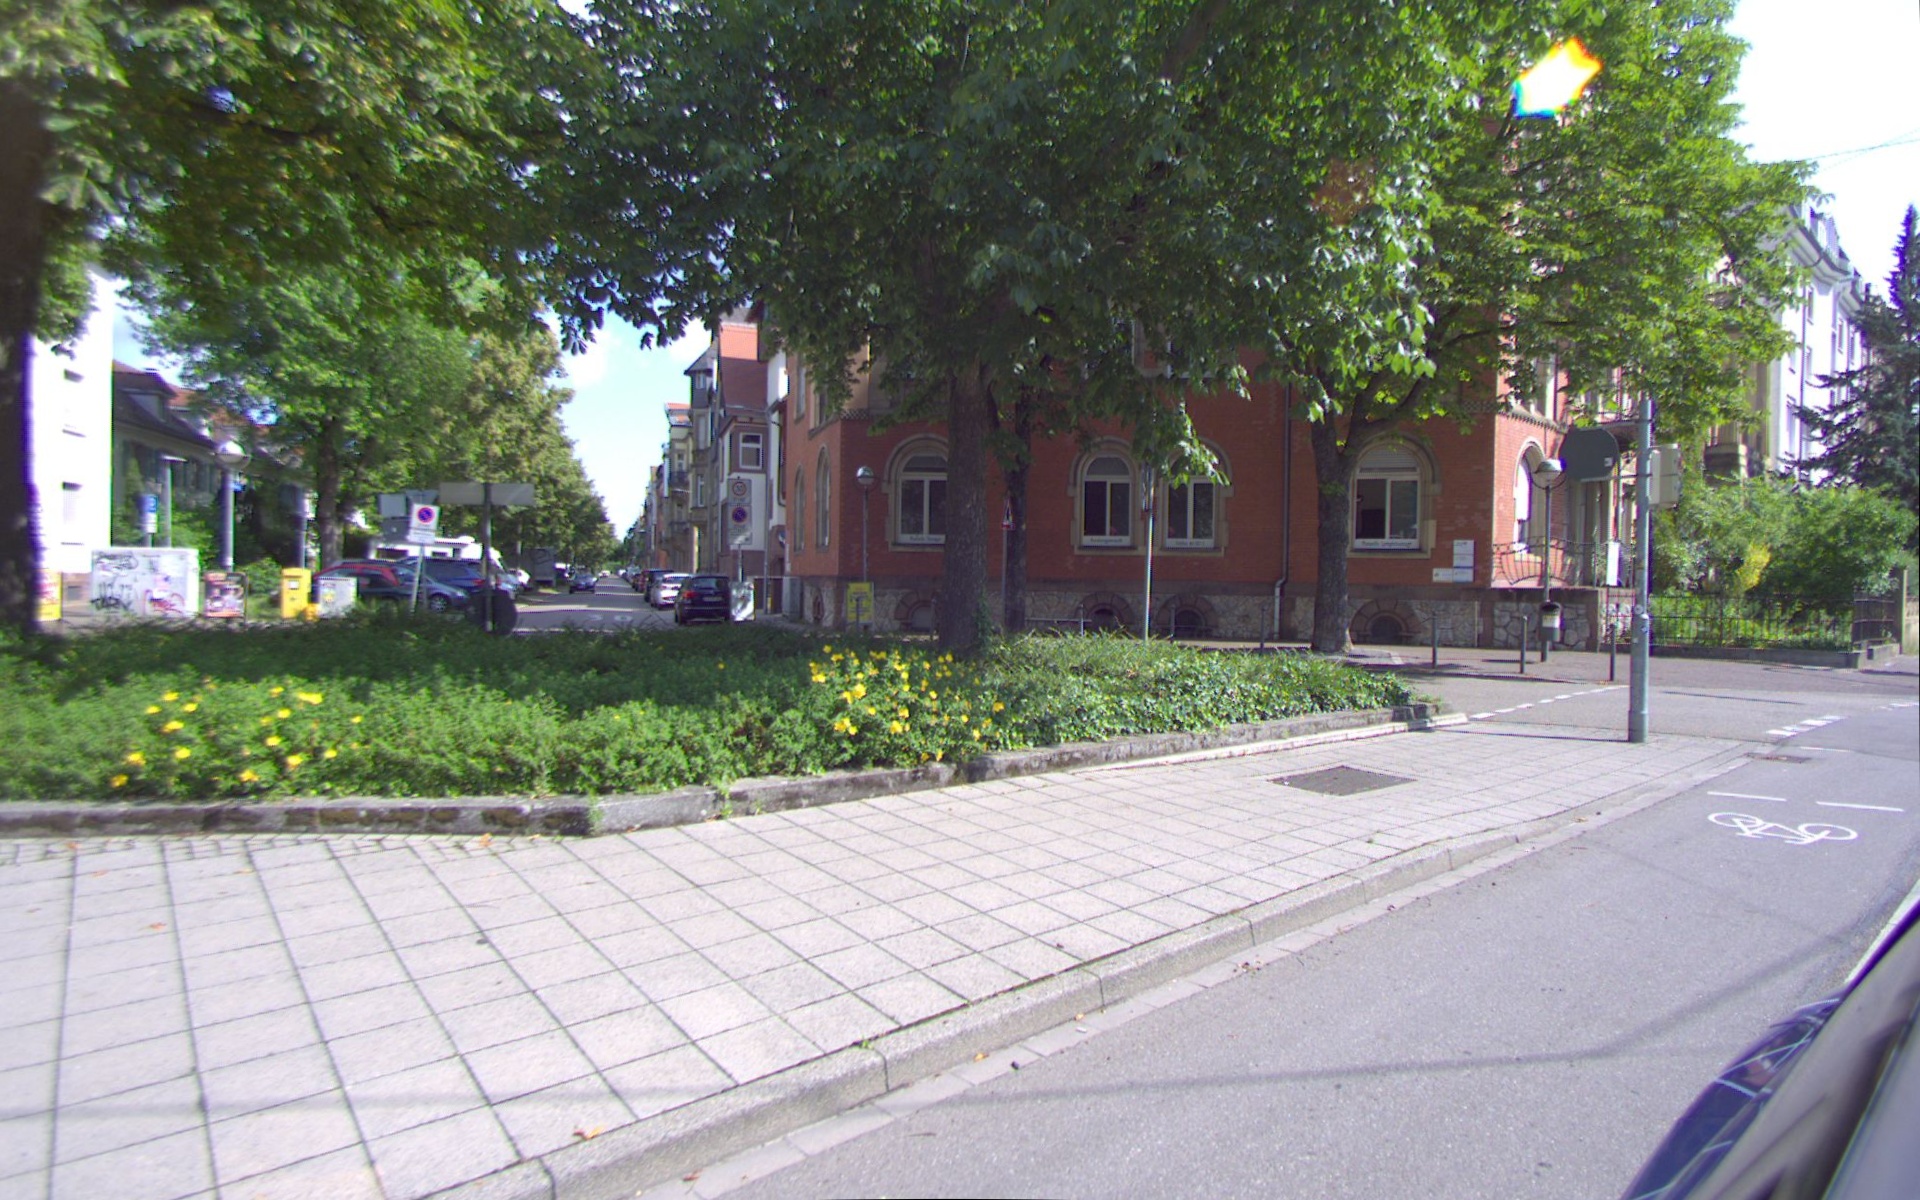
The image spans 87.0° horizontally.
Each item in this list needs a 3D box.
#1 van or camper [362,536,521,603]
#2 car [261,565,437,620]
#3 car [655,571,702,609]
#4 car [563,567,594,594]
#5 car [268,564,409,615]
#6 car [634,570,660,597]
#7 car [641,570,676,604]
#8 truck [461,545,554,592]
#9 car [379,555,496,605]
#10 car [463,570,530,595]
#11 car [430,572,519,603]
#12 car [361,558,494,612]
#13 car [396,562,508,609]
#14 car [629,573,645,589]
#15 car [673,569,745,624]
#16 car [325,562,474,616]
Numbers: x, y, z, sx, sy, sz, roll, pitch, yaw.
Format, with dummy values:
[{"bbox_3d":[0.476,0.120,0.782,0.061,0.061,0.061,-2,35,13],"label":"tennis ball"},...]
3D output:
[{"bbox_3d":[-25.175,-1.457,49.444,6.690,3.076,2.126,0,1,-20],"label":"van or camper"},{"bbox_3d":[-16.815,-0.207,28.073,3.916,1.460,1.806,0,1,-22],"label":"car"},{"bbox_3d":[-11.900,-0.454,42.859,1.831,1.504,4.009,1,1,-15],"label":"car"},{"bbox_3d":[-26.943,-1.356,71.521,1.896,1.754,3.838,-1,0,-19],"label":"car"},{"bbox_3d":[-18.418,-0.299,30.131,3.342,1.440,1.566,0,1,-22],"label":"car"},{"bbox_3d":[-23.720,-1.238,76.599,1.702,1.950,3.948,-1,0,-19],"label":"car"},{"bbox_3d":[-17.061,-0.744,57.237,1.690,1.860,3.676,0,1,-19],"label":"car"},{"bbox_3d":[-30.012,-2.074,67.359,5.437,2.970,2.004,0,1,-18],"label":"truck"},{"bbox_3d":[-20.618,-0.770,40.101,3.916,1.883,1.852,0,1,-21],"label":"car"},{"bbox_3d":[-28.164,-1.068,61.596,3.526,1.416,1.539,-1,-1,-17],"label":"car"},{"bbox_3d":[-22.743,-0.586,47.548,3.588,1.415,1.537,0,1,-18],"label":"car"},{"bbox_3d":[-18.813,-0.527,35.922,3.916,1.816,1.983,0,1,-20],"label":"car"},{"bbox_3d":[-21.509,-0.615,43.001,3.916,1.905,2.004,1,1,-16],"label":"car"},{"bbox_3d":[-32.930,-1.940,103.096,1.534,1.600,3.264,0,1,-18],"label":"car"},{"bbox_3d":[-7.411,-0.132,29.762,1.896,1.504,4.009,1,1,-15],"label":"car"},{"bbox_3d":[-18.258,-0.360,33.179,4.040,1.705,1.856,0,1,-21],"label":"car"}]
